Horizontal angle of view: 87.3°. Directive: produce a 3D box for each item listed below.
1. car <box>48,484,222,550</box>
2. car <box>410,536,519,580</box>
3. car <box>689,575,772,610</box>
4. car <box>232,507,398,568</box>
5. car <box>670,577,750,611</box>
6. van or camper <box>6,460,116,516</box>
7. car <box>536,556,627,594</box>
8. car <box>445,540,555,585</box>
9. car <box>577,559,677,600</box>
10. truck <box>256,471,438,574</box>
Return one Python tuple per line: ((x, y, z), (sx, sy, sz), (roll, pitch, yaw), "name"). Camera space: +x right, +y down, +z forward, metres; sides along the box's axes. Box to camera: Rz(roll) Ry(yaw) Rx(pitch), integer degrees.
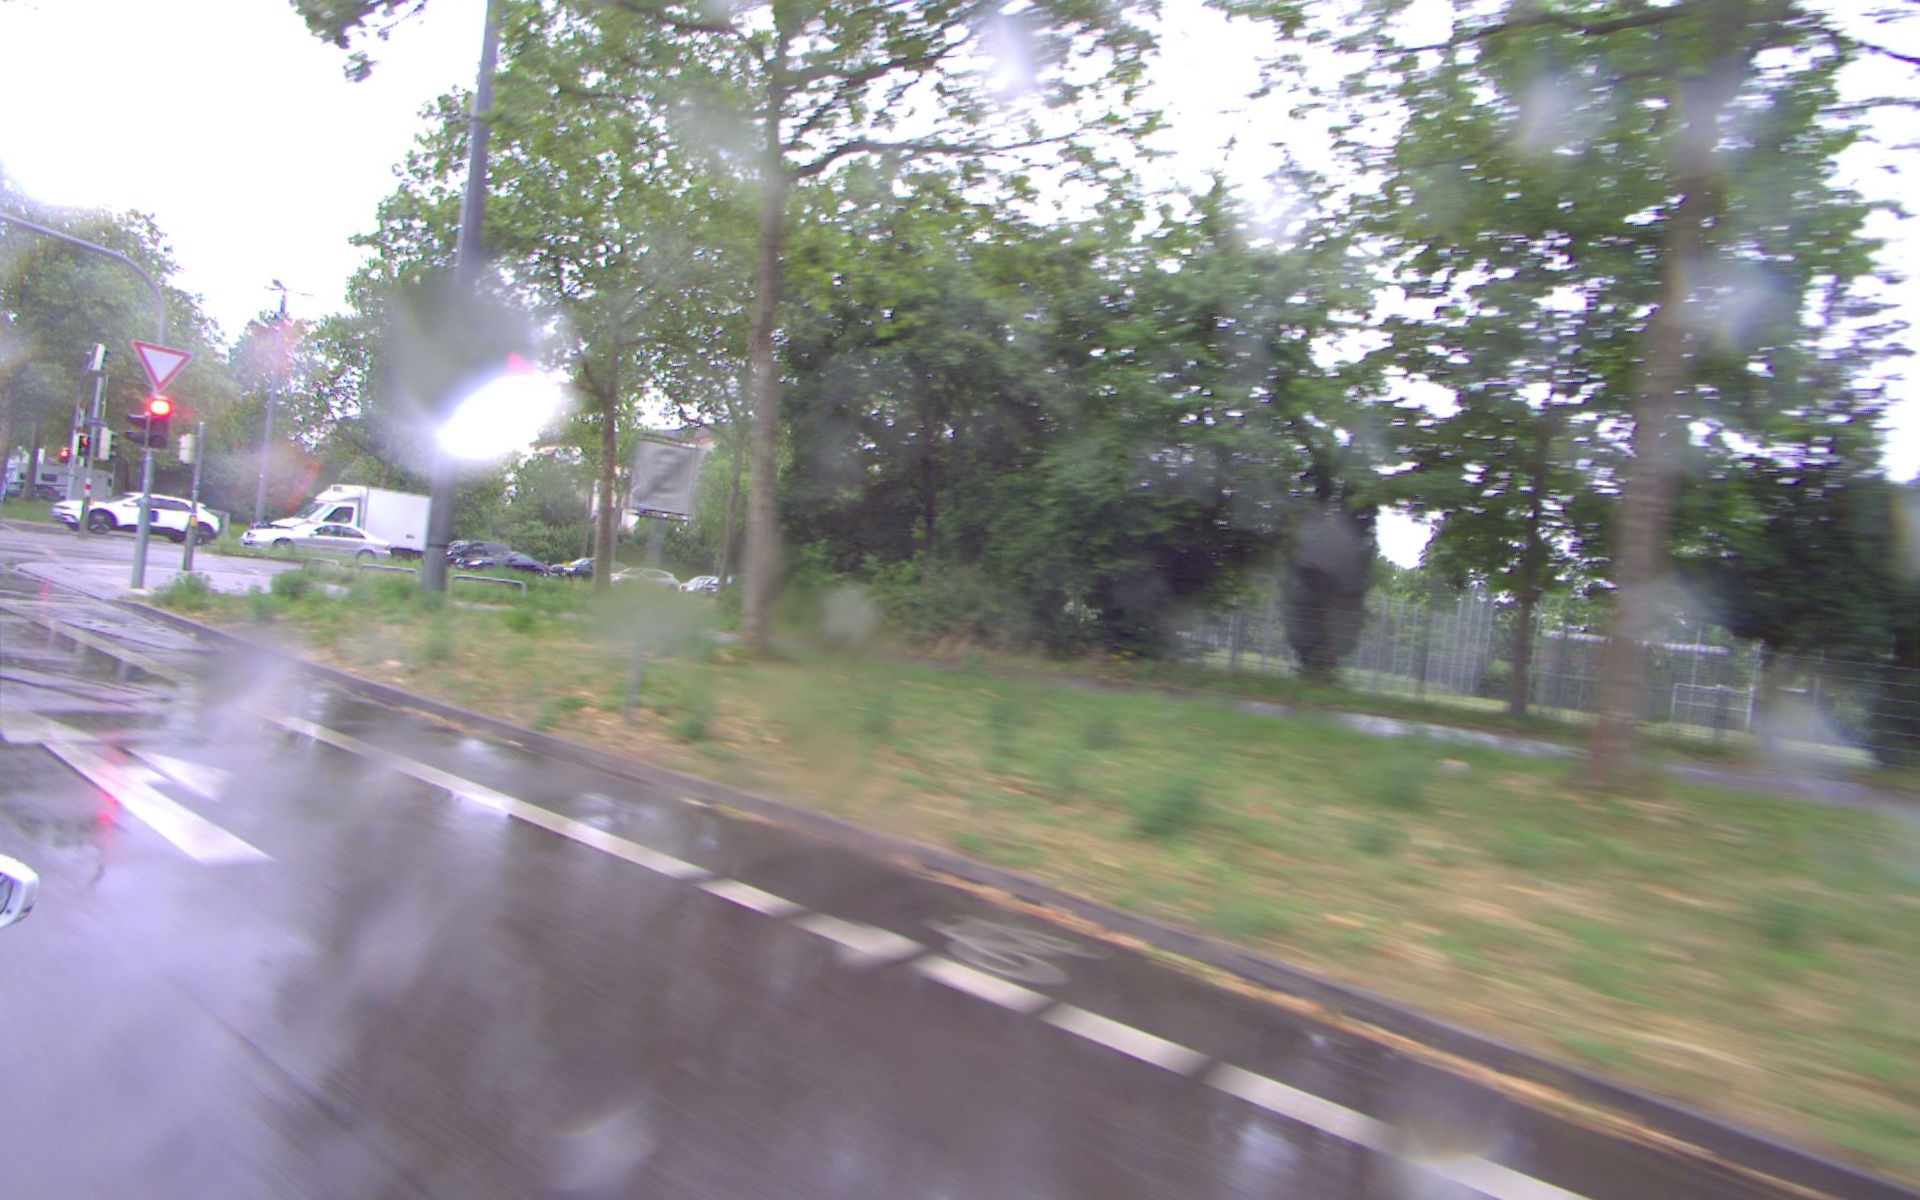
((-29.441, -2.914, 36.081), (1.623, 1.676, 4.469), (7, 0, 27), "car")
((-23.120, -1.926, 47.070), (1.736, 1.439, 4.206), (7, -1, 32), "car")
((-12.886, -0.384, 56.675), (1.736, 1.439, 4.670), (7, -1, 30), "car")
((-22.261, -2.126, 34.918), (1.617, 1.406, 4.520), (7, -1, 30), "car")
((-14.744, -0.331, 59.616), (1.736, 1.439, 4.669), (7, -1, 30), "car")
((-61.391, -7.581, 68.819), (5.200, 2.728, 2.219), (10, -1, -39), "van or camper")
((-19.804, -1.311, 52.788), (1.736, 1.439, 4.127), (7, -1, 31), "car")
((-20.176, -1.630, 44.295), (1.617, 1.406, 4.117), (7, -1, 30), "car")
((-16.588, -0.987, 50.331), (1.736, 1.439, 4.670), (7, -1, 30), "car")
((-23.490, -2.900, 38.820), (1.948, 3.095, 5.478), (7, -1, 30), "truck")
